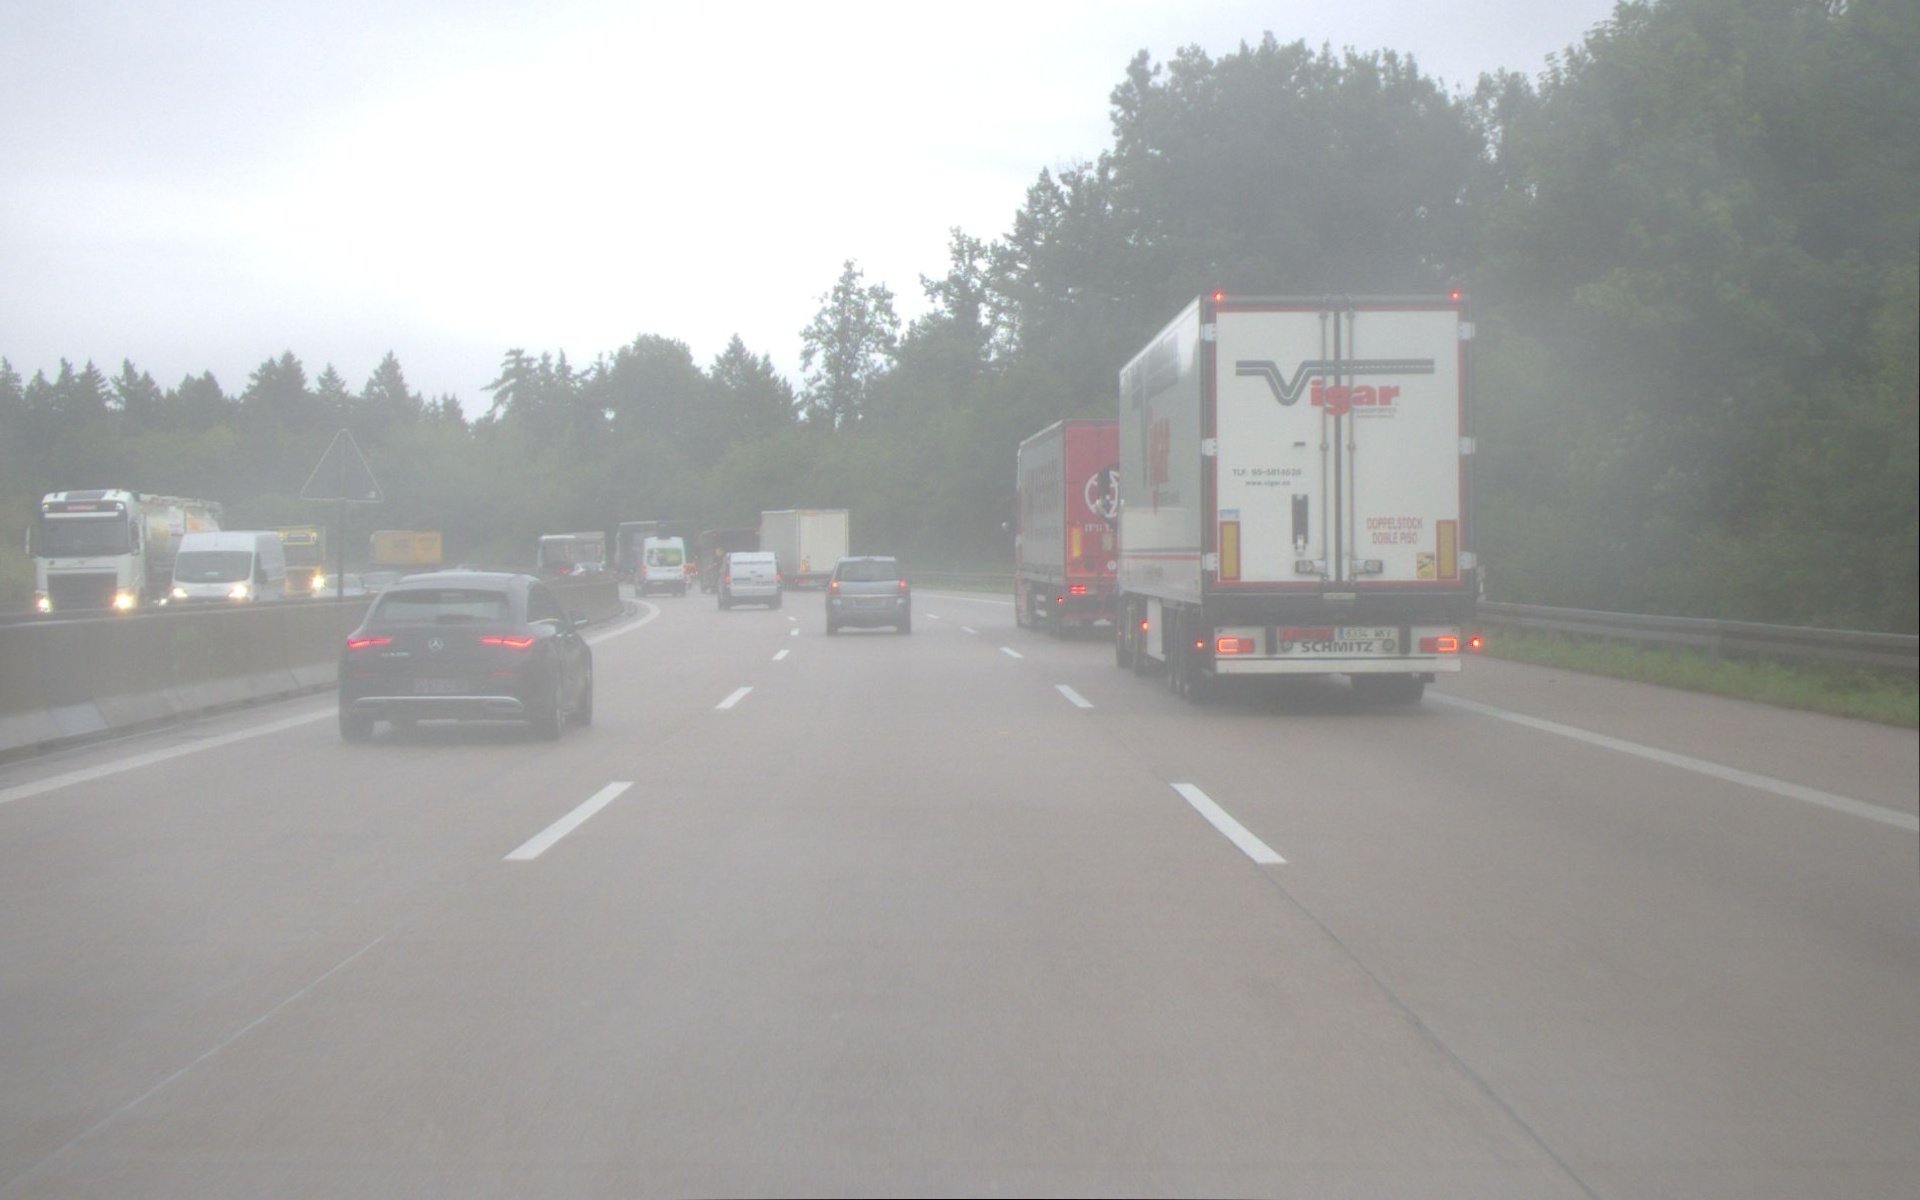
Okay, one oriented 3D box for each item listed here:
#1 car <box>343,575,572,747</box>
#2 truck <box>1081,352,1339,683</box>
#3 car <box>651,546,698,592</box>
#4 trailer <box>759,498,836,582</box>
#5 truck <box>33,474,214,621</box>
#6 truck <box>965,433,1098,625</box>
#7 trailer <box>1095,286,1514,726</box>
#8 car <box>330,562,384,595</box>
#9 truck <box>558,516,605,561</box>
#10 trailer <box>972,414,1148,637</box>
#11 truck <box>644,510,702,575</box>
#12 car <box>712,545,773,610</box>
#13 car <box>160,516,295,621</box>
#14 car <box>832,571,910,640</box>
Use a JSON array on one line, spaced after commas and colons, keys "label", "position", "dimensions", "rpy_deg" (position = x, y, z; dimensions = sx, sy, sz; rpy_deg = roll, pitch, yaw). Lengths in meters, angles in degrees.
[{"label": "car", "position": [-4.324, 0.487, 30.026], "dimensions": [1.553, 1.347, 3.684], "rpy_deg": [1, 1, -2]}, {"label": "truck", "position": [3.213, -1.073, 45.755], "dimensions": [2.798, 4.089, 5.968], "rpy_deg": [-1, 1, -2]}, {"label": "car", "position": [-13.161, -1.444, 158.283], "dimensions": [1.993, 2.052, 4.001], "rpy_deg": [-1, 1, -7]}, {"label": "trailer", "position": [-8.252, -3.060, 172.742], "dimensions": [2.419, 4.054, 12.058], "rpy_deg": [0, 1, -10]}, {"label": "truck", "position": [-22.090, -1.391, 91.351], "dimensions": [2.564, 3.654, 10.493], "rpy_deg": [0, 1, -2]}, {"label": "truck", "position": [1.481, -1.510, 74.446], "dimensions": [2.374, 3.940, 6.161], "rpy_deg": [1, 1, -3]}, {"label": "trailer", "position": [3.507, -0.991, 39.057], "dimensions": [2.734, 4.089, 13.684], "rpy_deg": [-1, 1, -3]}, {"label": "car", "position": [-25.341, -0.930, 144.602], "dimensions": [1.802, 1.329, 4.565], "rpy_deg": [1, 1, -5]}, {"label": "truck", "position": [-25.287, -4.125, 229.849], "dimensions": [3.082, 2.895, 7.905], "rpy_deg": [0, 2, -6]}, {"label": "trailer", "position": [1.810, -1.423, 67.757], "dimensions": [2.370, 3.940, 12.522], "rpy_deg": [1, 1, -3]}, {"label": "truck", "position": [-18.737, -3.790, 223.871], "dimensions": [3.368, 4.117, 10.440], "rpy_deg": [0, 1, -7]}, {"label": "car", "position": [-7.049, -0.742, 111.088], "dimensions": [1.725, 2.007, 3.658], "rpy_deg": [-1, 1, -7]}, {"label": "car", "position": [-17.769, -0.785, 83.670], "dimensions": [1.993, 2.441, 6.746], "rpy_deg": [0, 1, -2]}, {"label": "car", "position": [-1.832, 0.095, 71.286], "dimensions": [1.553, 1.347, 3.684], "rpy_deg": [1, 1, -1]}]
